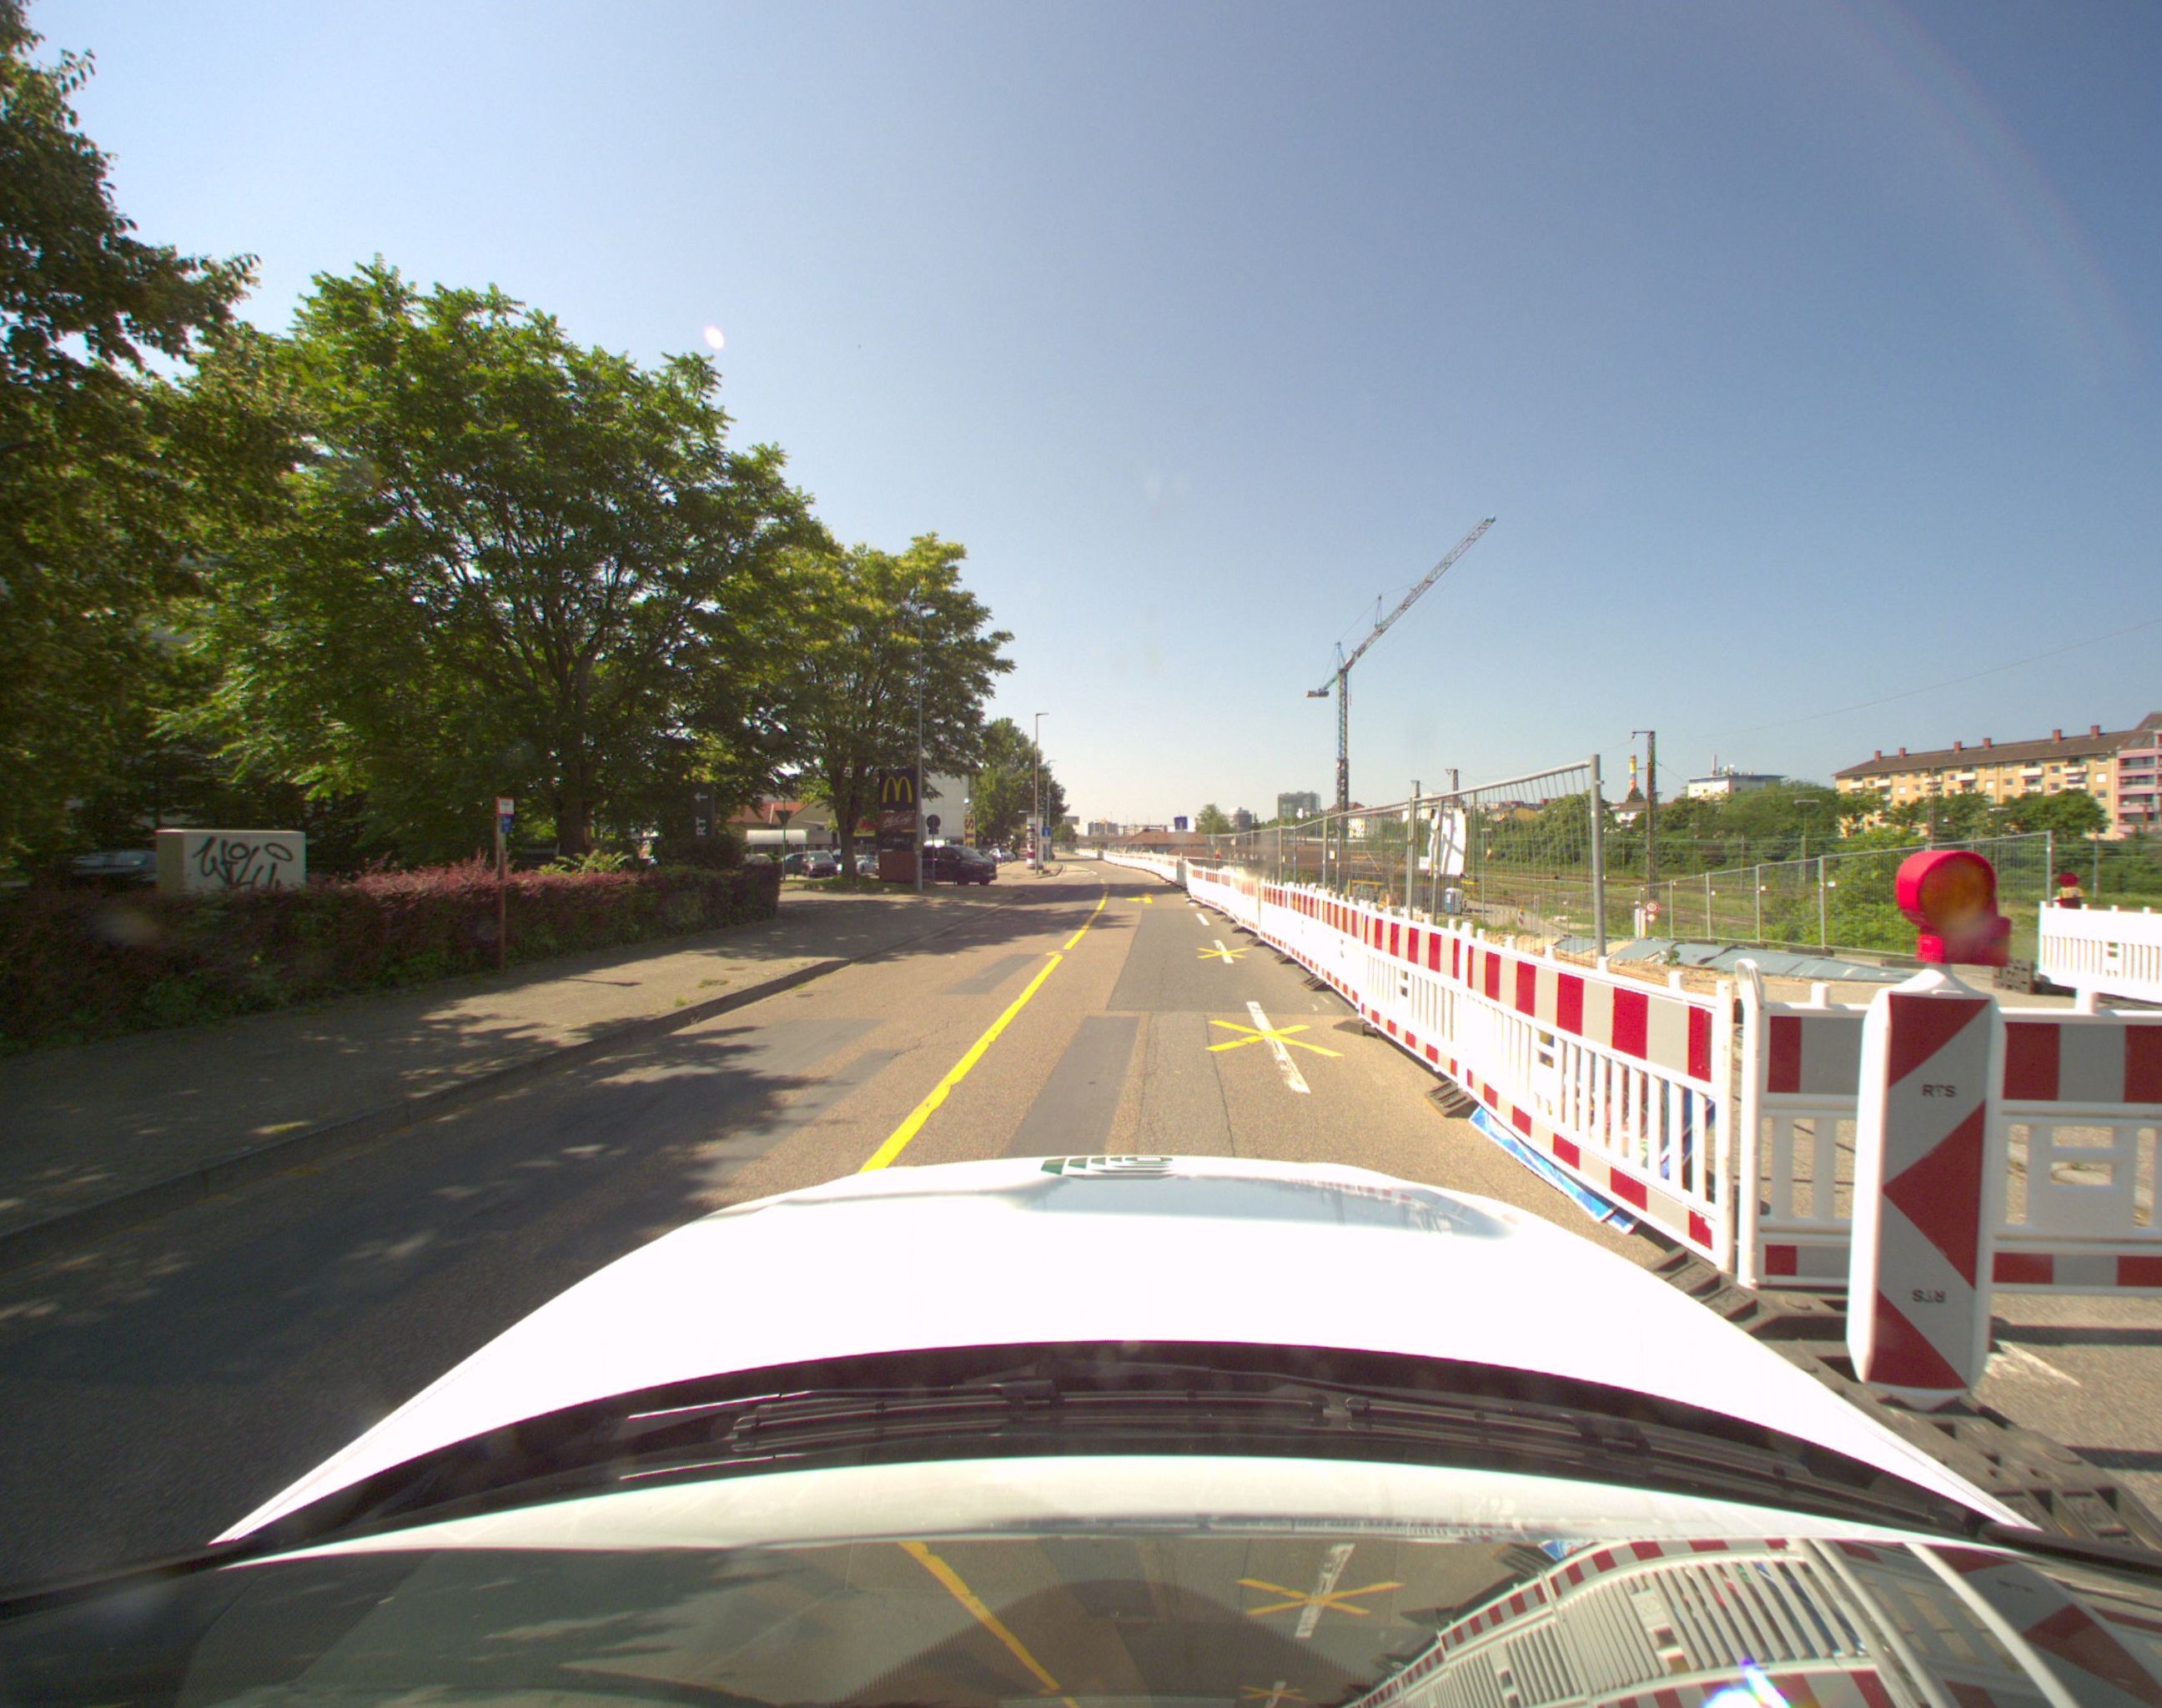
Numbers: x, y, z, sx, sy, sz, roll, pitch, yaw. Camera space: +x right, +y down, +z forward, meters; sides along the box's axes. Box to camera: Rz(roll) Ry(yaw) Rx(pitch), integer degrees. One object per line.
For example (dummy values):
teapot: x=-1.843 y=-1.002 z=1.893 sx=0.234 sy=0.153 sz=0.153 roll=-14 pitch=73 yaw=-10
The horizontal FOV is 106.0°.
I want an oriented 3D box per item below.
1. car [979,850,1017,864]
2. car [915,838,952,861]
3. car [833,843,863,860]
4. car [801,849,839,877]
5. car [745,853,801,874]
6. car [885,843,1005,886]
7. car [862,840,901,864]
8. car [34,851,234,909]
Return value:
car: x=-8.783 y=0.294 z=86.240 sx=3.648 sy=1.421 sz=1.579 roll=0 pitch=0 yaw=15
car: x=-12.977 y=-0.377 z=71.712 sx=1.835 sy=1.929 sz=3.959 roll=0 pitch=0 yaw=-33
car: x=-19.400 y=-0.202 z=67.724 sx=1.577 sy=1.421 sz=3.652 roll=0 pitch=0 yaw=-30
car: x=-17.047 y=0.552 z=53.086 sx=2.002 sy=1.728 sz=3.970 roll=-1 pitch=1 yaw=-23
car: x=-21.818 y=0.640 z=57.752 sx=3.690 sy=1.421 sz=1.561 roll=0 pitch=0 yaw=-22
car: x=-6.471 y=0.454 z=38.709 sx=5.319 sy=1.935 sz=2.010 roll=0 pitch=0 yaw=20
car: x=-16.759 y=-0.189 z=68.243 sx=2.007 sy=1.903 sz=3.959 roll=0 pitch=0 yaw=-33
car: x=-23.022 y=0.598 z=19.851 sx=3.571 sy=1.299 sz=1.641 roll=0 pitch=0 yaw=12
